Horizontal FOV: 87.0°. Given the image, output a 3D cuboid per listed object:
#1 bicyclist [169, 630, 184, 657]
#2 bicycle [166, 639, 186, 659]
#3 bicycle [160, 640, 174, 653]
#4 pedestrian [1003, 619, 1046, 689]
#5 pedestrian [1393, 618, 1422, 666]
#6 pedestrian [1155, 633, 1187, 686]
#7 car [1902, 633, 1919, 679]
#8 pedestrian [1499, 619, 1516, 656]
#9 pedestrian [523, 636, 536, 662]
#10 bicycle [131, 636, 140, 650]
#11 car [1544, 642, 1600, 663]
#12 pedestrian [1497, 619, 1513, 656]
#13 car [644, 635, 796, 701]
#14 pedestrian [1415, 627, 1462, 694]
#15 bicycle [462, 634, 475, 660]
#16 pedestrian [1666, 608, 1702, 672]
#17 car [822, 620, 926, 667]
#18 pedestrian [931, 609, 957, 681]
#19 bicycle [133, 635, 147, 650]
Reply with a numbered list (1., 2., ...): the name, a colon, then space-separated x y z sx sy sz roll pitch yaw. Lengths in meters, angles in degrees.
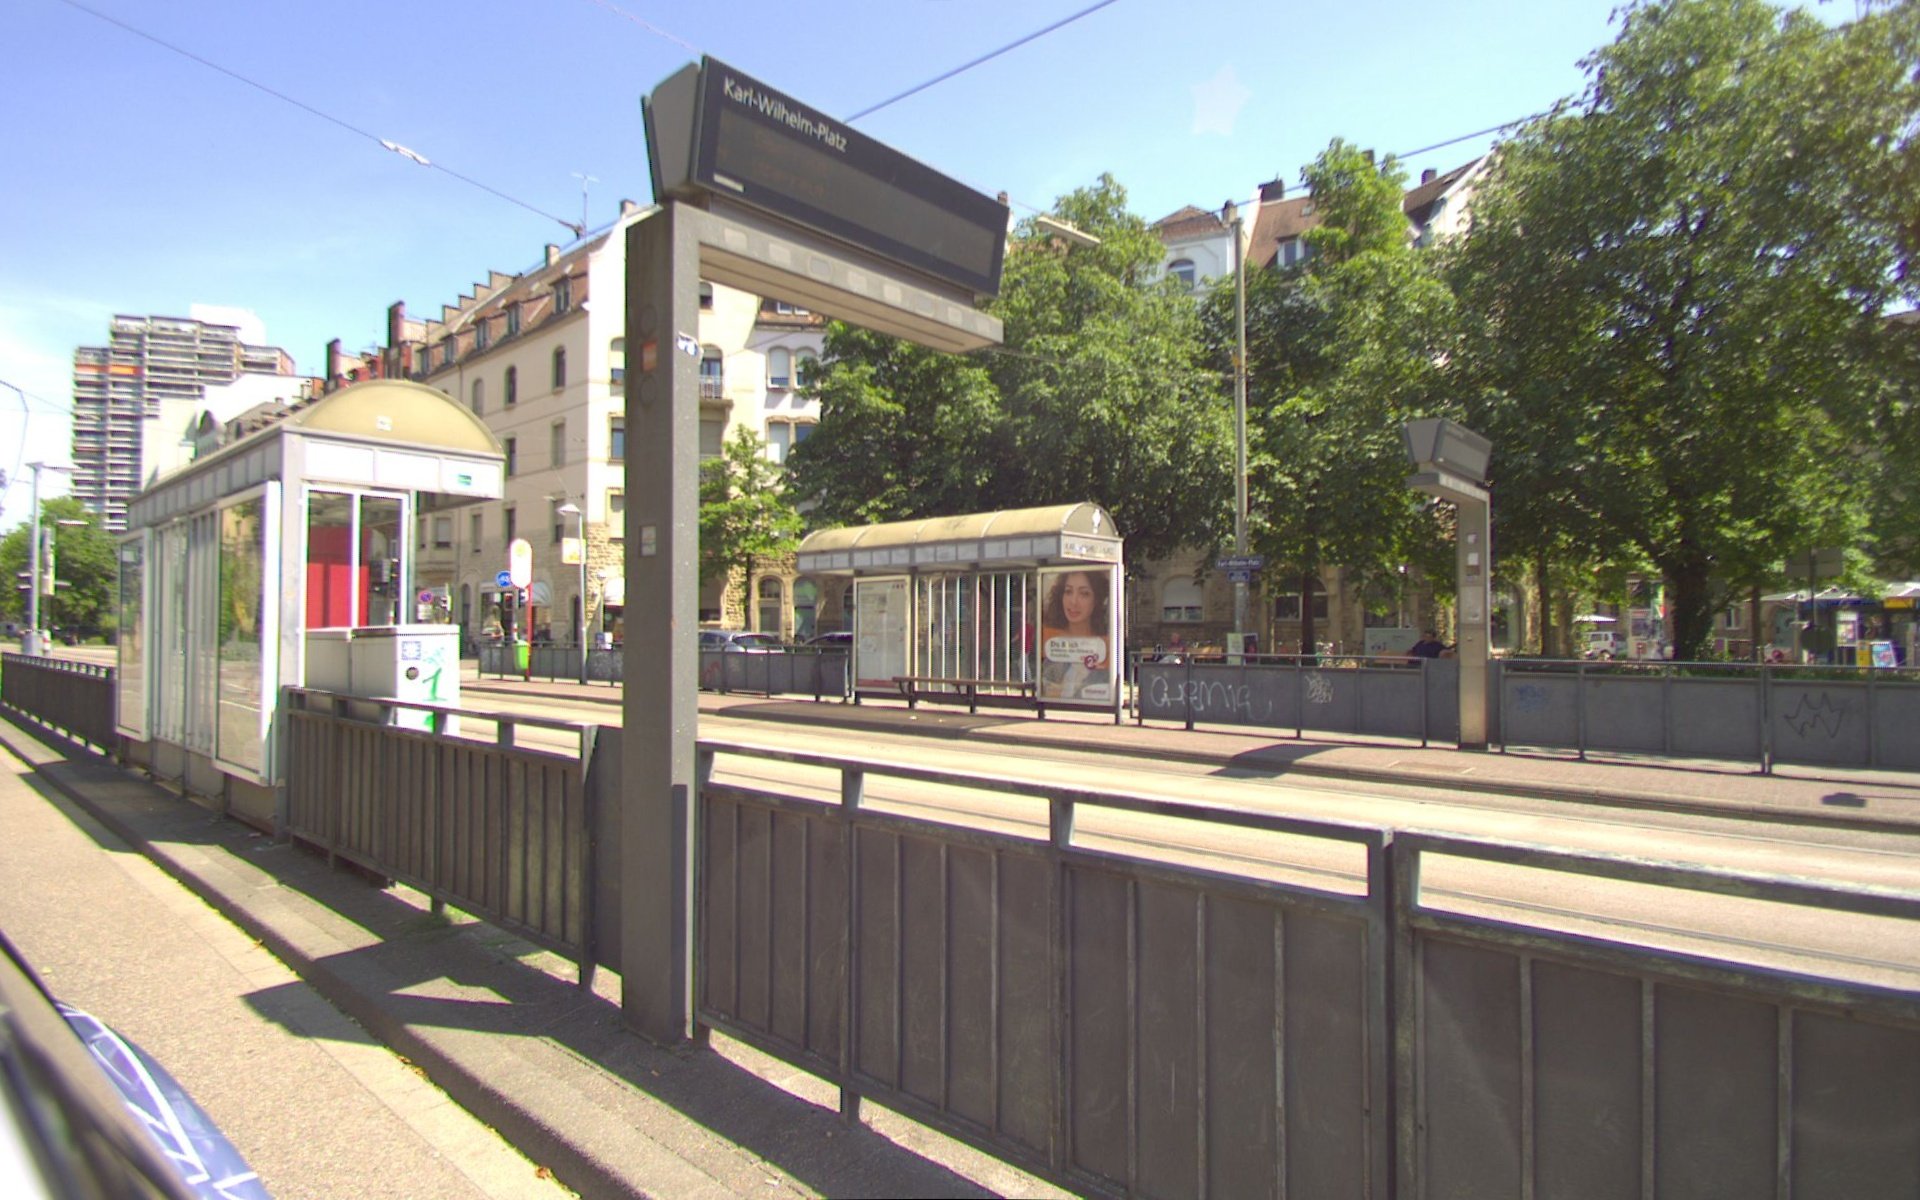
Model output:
1. bicyclist: -47.399 2.620 61.205 0.585 1.586 0.602 -1 -2 41
2. bicycle: -47.476 2.978 61.287 1.977 1.166 0.621 -2 -2 42
3. bicycle: -56.754 3.327 72.400 1.953 0.955 0.457 -2 -2 42
4. pedestrian: 1.532 1.260 24.052 0.772 1.618 0.673 -1 -1 38
5. pedestrian: 16.498 1.543 37.298 0.606 1.764 0.719 0 -1 -25
6. pedestrian: 5.072 1.419 24.325 0.637 1.265 0.549 0 -1 2
7. car: 32.287 1.778 32.574 3.676 1.453 1.546 0 -1 -24
8. pedestrian: 24.588 1.677 45.415 0.560 1.635 0.507 -1 -2 41
9. pedestrian: -19.493 2.215 45.843 0.405 1.157 0.401 -1 -1 38
10. bicycle: -65.612 3.420 80.529 1.899 1.054 0.286 -1 -2 42
11. car: 26.493 2.266 43.850 1.899 0.872 0.856 -1 -1 17
12. pedestrian: 24.249 1.671 45.005 0.526 1.635 0.491 -1 -2 41
13. car: -5.558 1.503 23.253 3.716 1.349 1.525 -1 -1 40
14. pedestrian: 9.451 1.181 20.009 0.637 1.297 0.618 0 -1 2
15. bicycle: -24.085 2.287 49.600 0.447 1.234 2.086 0 -1 -29
16. pedestrian: 23.521 1.296 32.895 0.710 2.029 0.809 -1 -2 19
17. car: -3.013 1.522 35.820 3.538 1.587 1.582 0 -1 1
18. pedestrian: -0.424 1.188 26.860 0.504 1.893 0.494 1 -2 -44
19. bicycle: -63.963 3.308 78.916 2.046 1.105 0.487 -2 -2 42
